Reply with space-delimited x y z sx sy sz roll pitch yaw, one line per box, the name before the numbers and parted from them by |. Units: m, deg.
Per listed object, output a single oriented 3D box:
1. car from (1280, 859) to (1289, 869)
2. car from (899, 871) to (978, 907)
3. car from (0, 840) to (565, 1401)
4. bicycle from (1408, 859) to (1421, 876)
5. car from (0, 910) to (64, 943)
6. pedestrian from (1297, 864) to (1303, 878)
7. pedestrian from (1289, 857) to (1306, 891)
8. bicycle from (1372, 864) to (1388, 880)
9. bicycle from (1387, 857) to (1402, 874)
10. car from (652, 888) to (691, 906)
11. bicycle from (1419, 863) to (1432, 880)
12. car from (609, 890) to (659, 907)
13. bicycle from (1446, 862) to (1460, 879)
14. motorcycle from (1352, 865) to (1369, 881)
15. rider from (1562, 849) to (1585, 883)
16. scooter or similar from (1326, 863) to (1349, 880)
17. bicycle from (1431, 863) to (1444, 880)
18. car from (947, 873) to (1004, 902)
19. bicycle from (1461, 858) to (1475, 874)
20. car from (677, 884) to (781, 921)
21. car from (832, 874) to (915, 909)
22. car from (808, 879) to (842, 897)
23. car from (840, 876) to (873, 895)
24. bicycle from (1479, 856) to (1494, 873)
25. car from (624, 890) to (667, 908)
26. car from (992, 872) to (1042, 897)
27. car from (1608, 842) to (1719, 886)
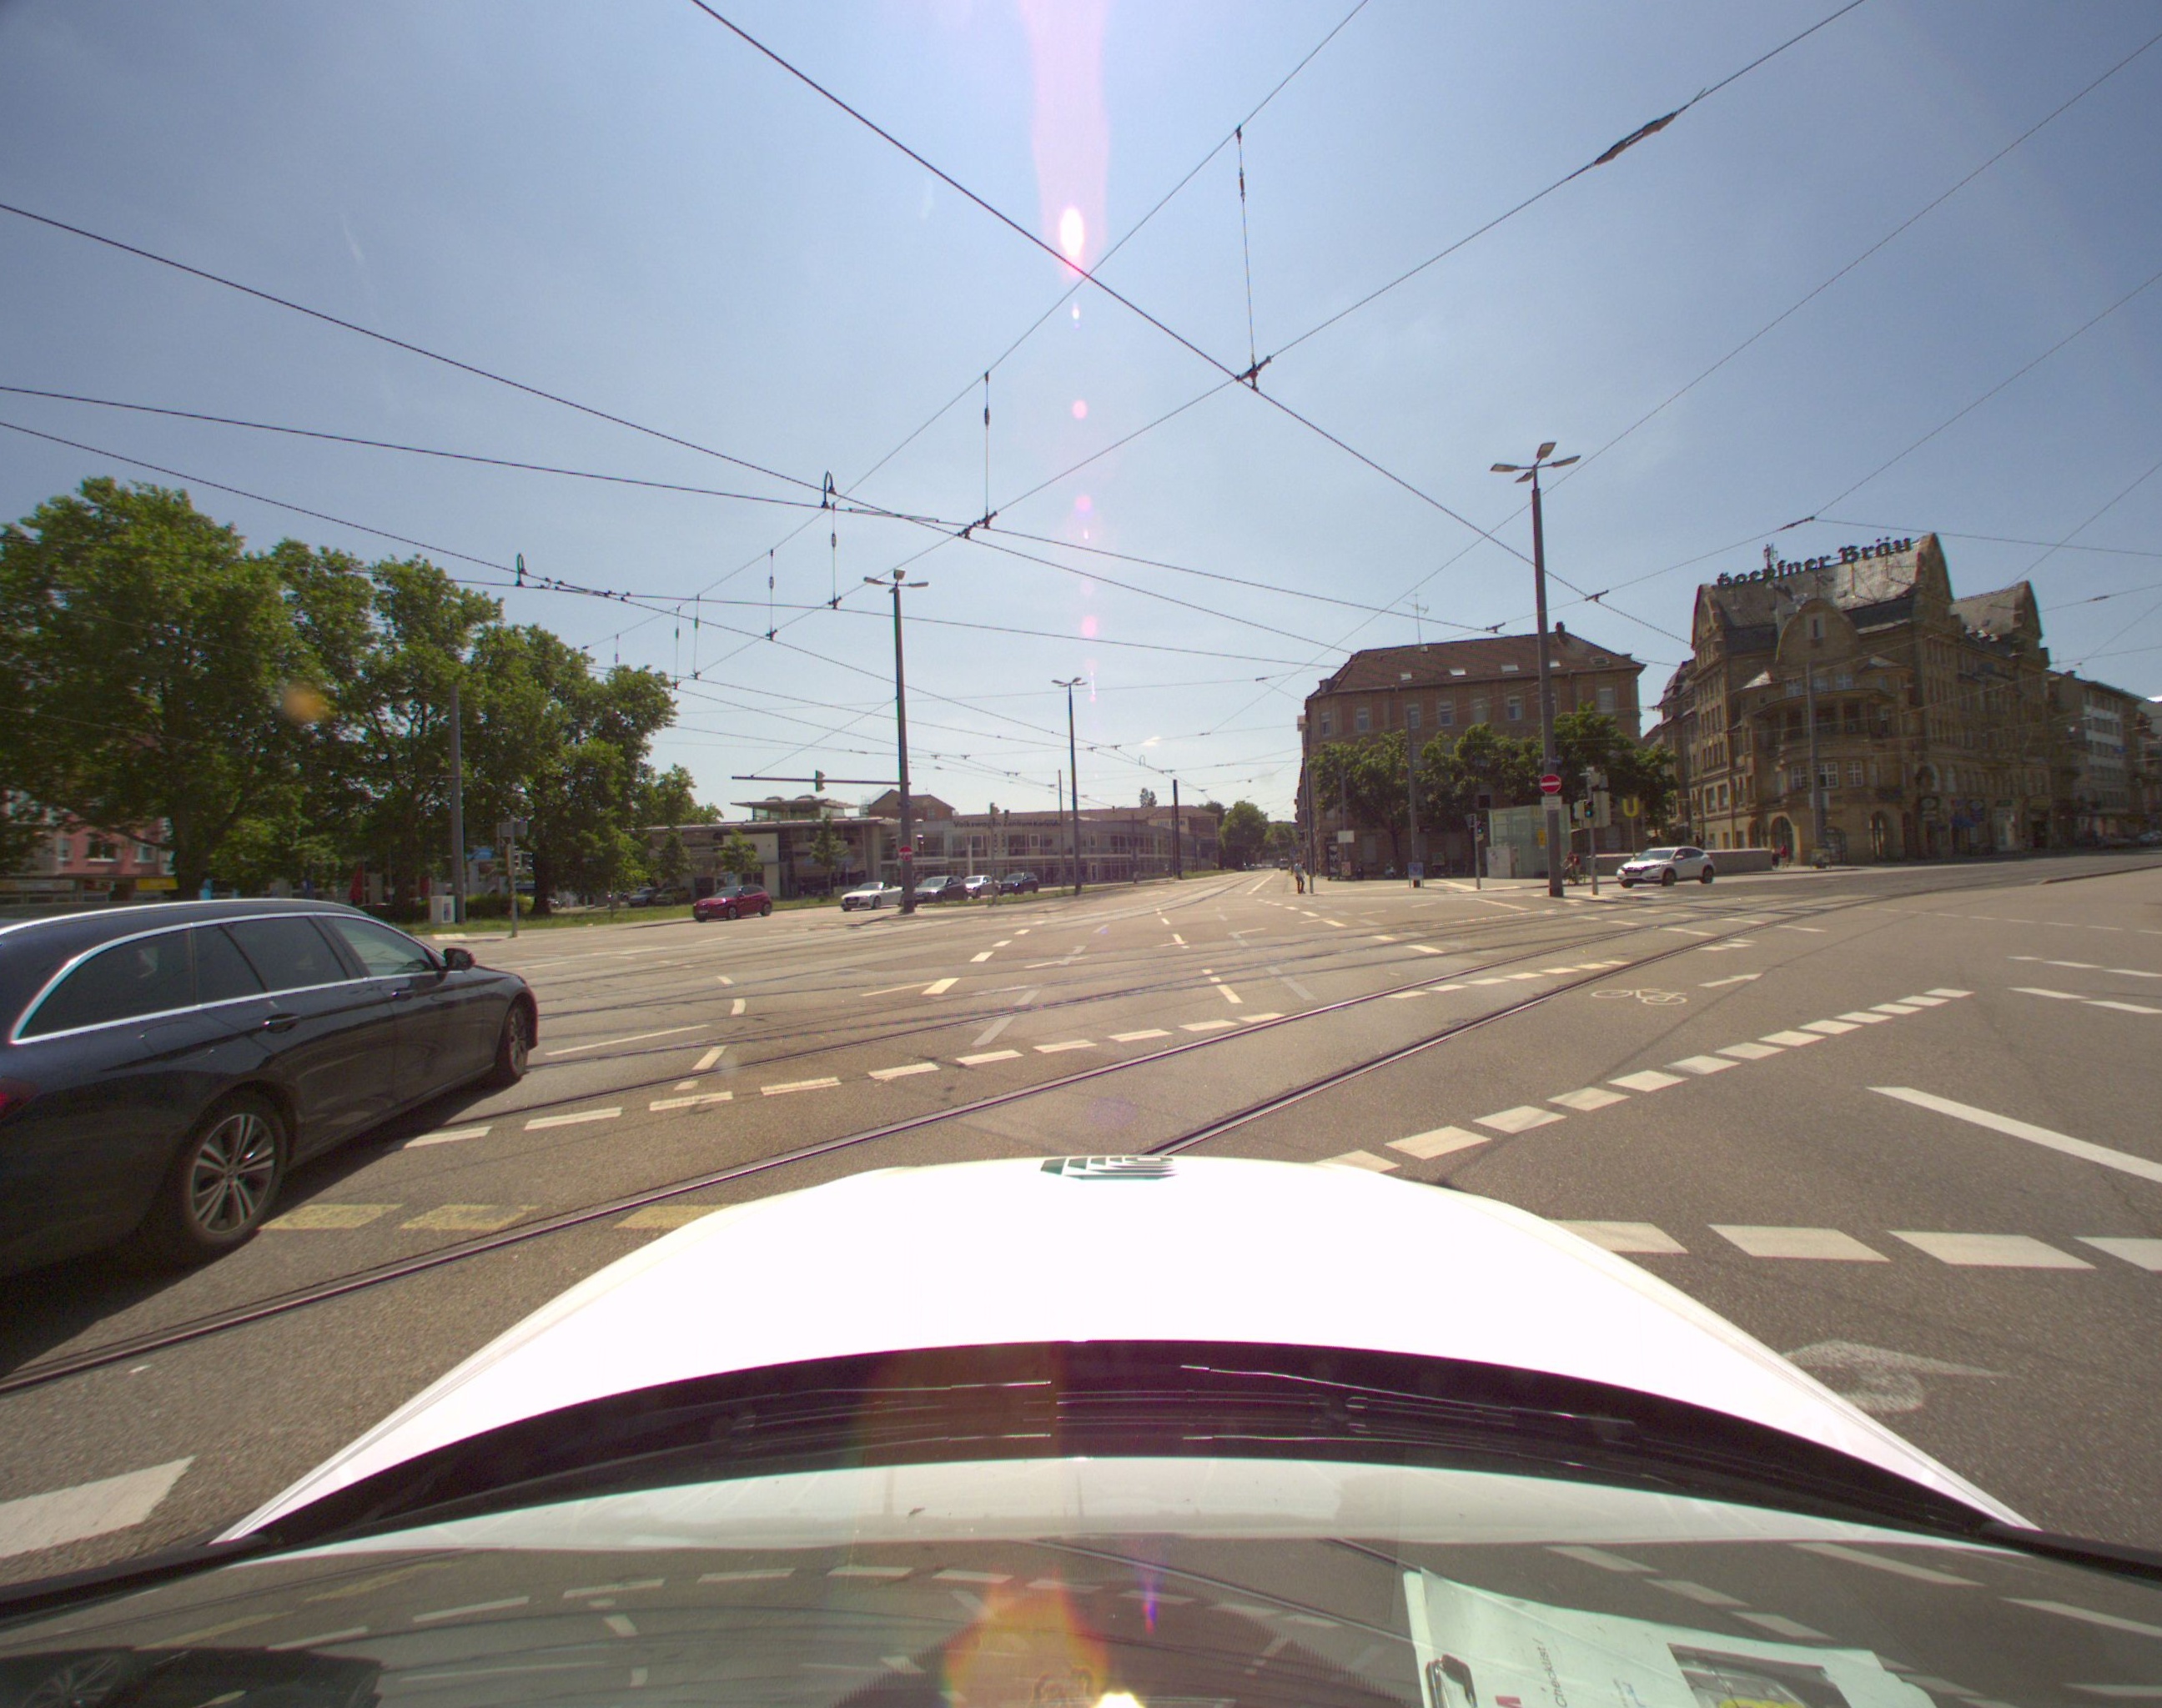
car | 46.116 2.309 184.749 1.979 2.181 4.385 -1 -2 14
car | -7.258 1.767 42.027 1.978 1.637 4.867 -3 -1 17
car | -4.580 0.840 4.241 1.800 1.640 4.780 0 -1 -15
bicycle | 23.214 0.917 56.676 0.547 1.120 1.828 -3 -1 16
car | -52.009 3.514 38.775 4.007 1.420 1.983 -2 -1 -25
pedestrian | 31.050 2.464 115.666 0.762 2.014 0.666 -1 -3 11
pedestrian | 11.011 1.030 41.398 0.463 1.708 0.635 -2 -2 -23
bicycle | 20.920 1.267 57.008 0.548 1.120 1.823 -2 -1 6
bicycle | 22.019 0.788 57.216 0.440 1.146 2.097 -1 -2 6
car | -39.278 4.102 78.242 1.764 1.510 4.318 -2 -1 -5
bicycle | 23.861 1.226 56.370 0.547 1.120 1.828 -3 -1 16
car | -46.015 4.533 83.914 4.345 1.510 1.753 -1 -2 -36
bicycle | 25.922 1.144 56.822 0.547 1.120 1.878 -3 -1 16
motorcycle | 19.572 1.310 57.089 0.577 1.074 1.947 -2 -1 3
rider | 23.730 0.571 39.225 0.878 1.601 0.559 -1 -2 -32
scooter or similar | 18.856 1.252 59.886 1.800 1.181 0.593 -1 -2 -35
bicycle | 24.612 1.216 56.263 0.547 1.120 1.897 -3 -1 16
car | -6.939 2.187 53.988 1.978 1.739 4.563 -3 -1 17
bicycle | 26.958 0.841 56.757 0.547 1.120 1.937 -3 -1 16
car | -16.550 2.255 38.587 1.980 1.465 4.863 -3 -1 13
car | -10.497 1.877 41.661 2.062 1.580 4.863 -3 -1 13
car | -24.266 3.214 77.296 1.914 1.707 3.999 0 -2 0
car | -21.275 3.002 77.356 1.914 1.707 3.999 0 -2 0
bicycle | 28.101 0.710 56.485 0.547 1.120 1.828 -3 -1 16
car | -41.936 4.302 78.540 1.761 1.510 4.326 -2 -1 0
car | -4.699 2.246 60.684 2.062 1.683 4.867 -3 -1 17
car | 23.297 0.399 32.555 4.200 1.605 1.680 -2 -1 -25
